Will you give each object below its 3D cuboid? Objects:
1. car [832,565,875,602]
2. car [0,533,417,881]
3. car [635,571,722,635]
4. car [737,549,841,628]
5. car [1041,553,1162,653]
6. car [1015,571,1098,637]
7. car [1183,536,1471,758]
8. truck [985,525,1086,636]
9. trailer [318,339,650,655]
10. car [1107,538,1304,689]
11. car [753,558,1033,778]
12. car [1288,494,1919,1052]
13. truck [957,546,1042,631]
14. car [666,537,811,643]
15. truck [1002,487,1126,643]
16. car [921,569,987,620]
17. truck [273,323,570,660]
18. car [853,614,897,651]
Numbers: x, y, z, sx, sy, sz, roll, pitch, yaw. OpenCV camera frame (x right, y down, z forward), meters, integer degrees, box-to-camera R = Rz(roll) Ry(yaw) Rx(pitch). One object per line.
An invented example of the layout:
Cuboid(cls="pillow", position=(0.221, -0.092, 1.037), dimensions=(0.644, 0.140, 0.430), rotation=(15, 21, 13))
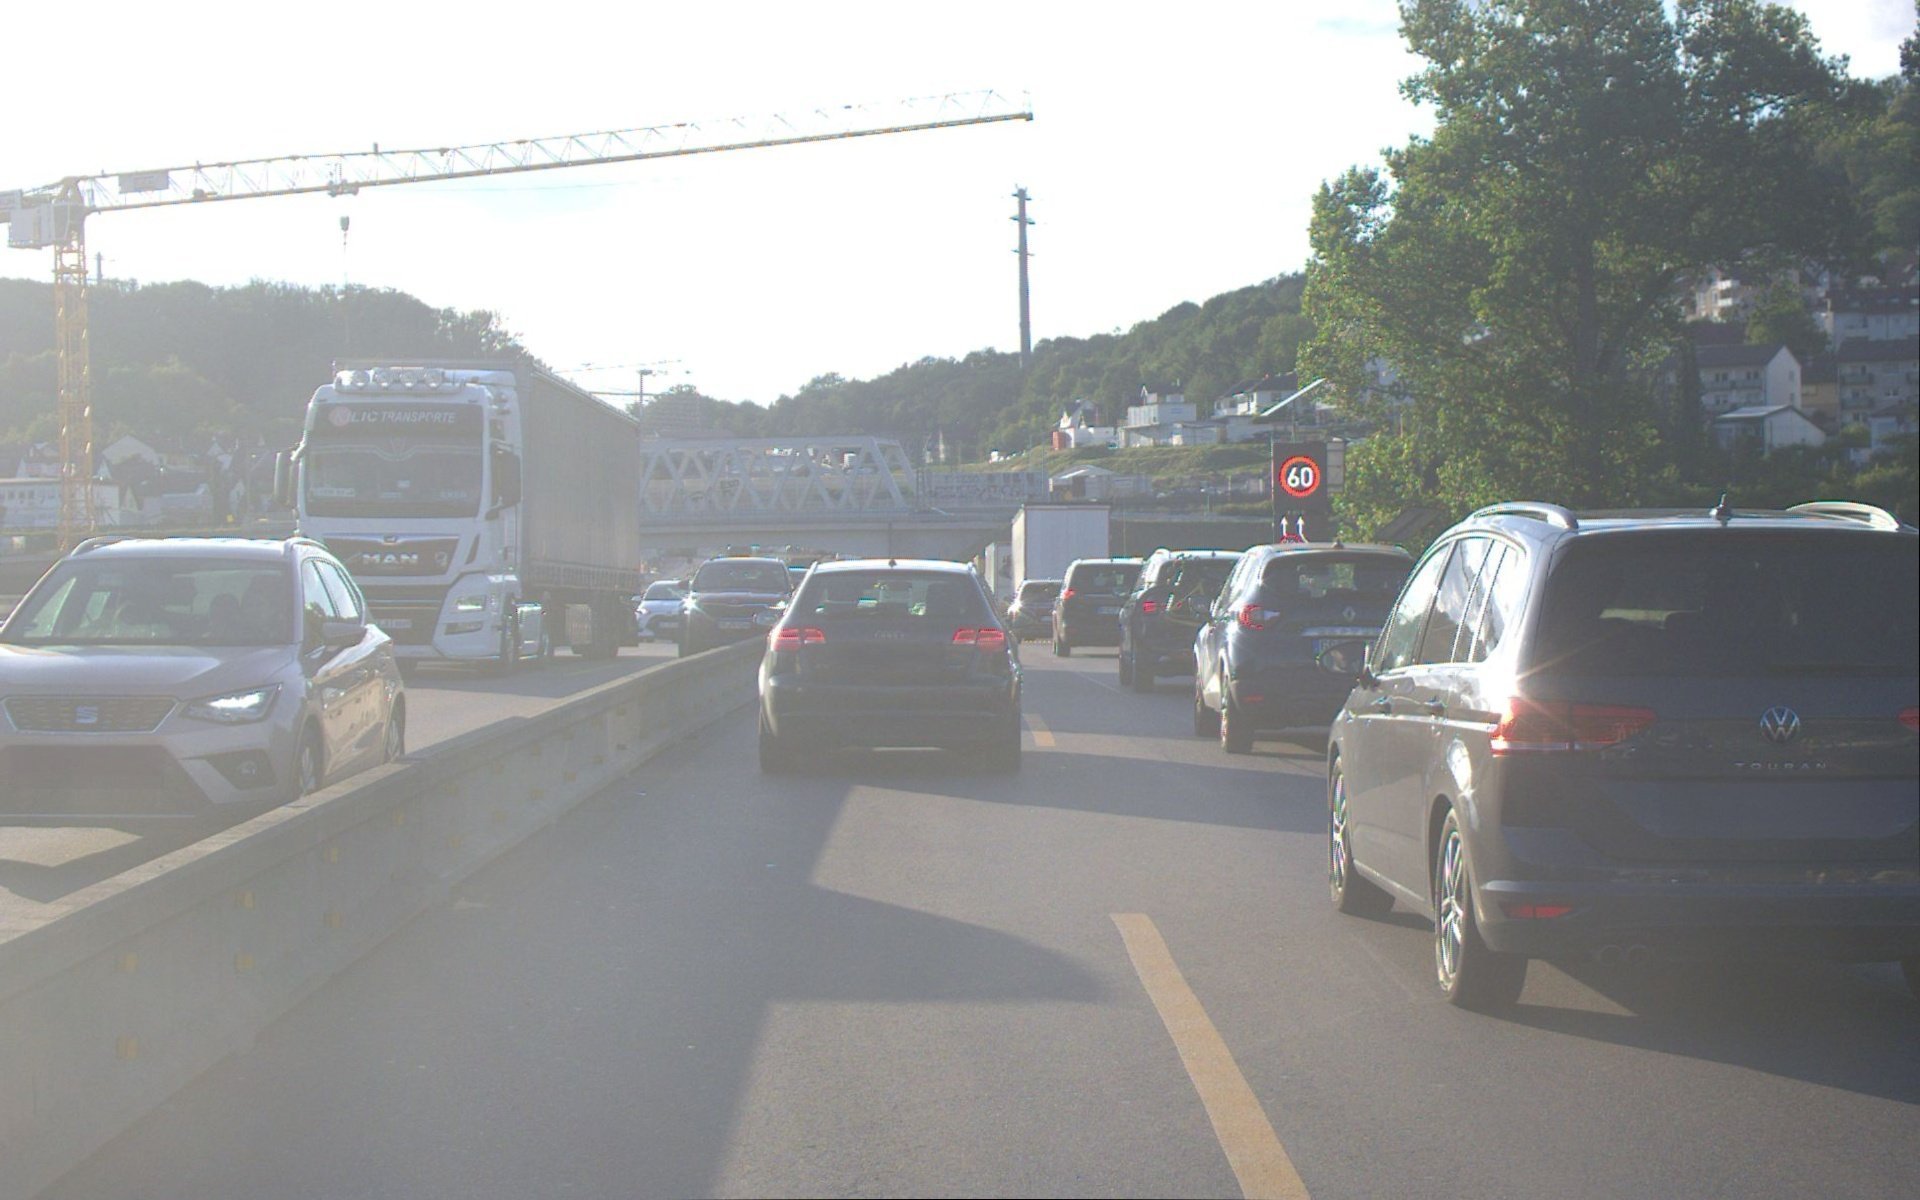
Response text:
Cuboid(cls="car", position=(-5.179, -0.797, 167.508), dimensions=(1.993, 1.753, 4.660), rotation=(0, 0, -1))
Cuboid(cls="car", position=(-3.855, 0.467, 17.167), dimensions=(1.767, 1.529, 4.000), rotation=(0, 0, -2))
Cuboid(cls="car", position=(-6.564, 0.046, 80.521), dimensions=(1.701, 1.441, 4.000), rotation=(-1, 1, 0))
Cuboid(cls="car", position=(-3.652, -0.259, 74.129), dimensions=(1.993, 1.639, 4.512), rotation=(1, 0, 0))
Cuboid(cls="car", position=(2.367, 0.043, 58.413), dimensions=(1.814, 1.627, 4.411), rotation=(0, 0, -1))
Cuboid(cls="car", position=(2.341, 0.094, 84.419), dimensions=(1.770, 1.547, 4.000), rotation=(1, 0, -2))
Cuboid(cls="car", position=(2.758, 0.318, 26.663), dimensions=(1.774, 1.580, 4.135), rotation=(0, 1, 0))
Cuboid(cls="truck", position=(3.120, -0.915, 147.555), dimensions=(3.890, 4.483, 15.267), rotation=(0, 1, 0))
Cuboid(cls="trailer", position=(-6.750, -1.382, 51.199), dimensions=(2.814, 4.037, 14.021), rotation=(-1, 0, 1))
Cuboid(cls="car", position=(2.704, 0.154, 38.937), dimensions=(1.875, 1.594, 4.965), rotation=(0, 0, 0))
Cuboid(cls="car", position=(-0.490, 0.429, 23.817), dimensions=(1.770, 1.385, 4.000), rotation=(0, 0, -2))
Cuboid(cls="car", position=(2.374, 0.515, 12.400), dimensions=(1.812, 1.610, 4.526), rotation=(2, 0, -1))
Cuboid(cls="truck", position=(2.088, -0.722, 189.667), dimensions=(3.890, 4.483, 13.850), rotation=(0, 1, -3))
Cuboid(cls="car", position=(-3.517, -0.167, 55.370), dimensions=(1.993, 1.614, 4.605), rotation=(-1, 0, 0))
Cuboid(cls="truck", position=(3.089, -1.269, 106.974), dimensions=(3.385, 4.482, 15.268), rotation=(0, 2, 0))
Cuboid(cls="car", position=(-0.193, -0.166, 100.510), dimensions=(1.863, 1.415, 4.000), rotation=(1, 0, 0))
Cuboid(cls="truck", position=(-6.832, -1.334, 44.372), dimensions=(2.814, 4.035, 5.672), rotation=(-1, 0, 1))
Cuboid(cls="car", position=(-3.605, 1.369, 146.568), dimensions=(1.804, 1.506, 4.000), rotation=(0, 0, -1))
